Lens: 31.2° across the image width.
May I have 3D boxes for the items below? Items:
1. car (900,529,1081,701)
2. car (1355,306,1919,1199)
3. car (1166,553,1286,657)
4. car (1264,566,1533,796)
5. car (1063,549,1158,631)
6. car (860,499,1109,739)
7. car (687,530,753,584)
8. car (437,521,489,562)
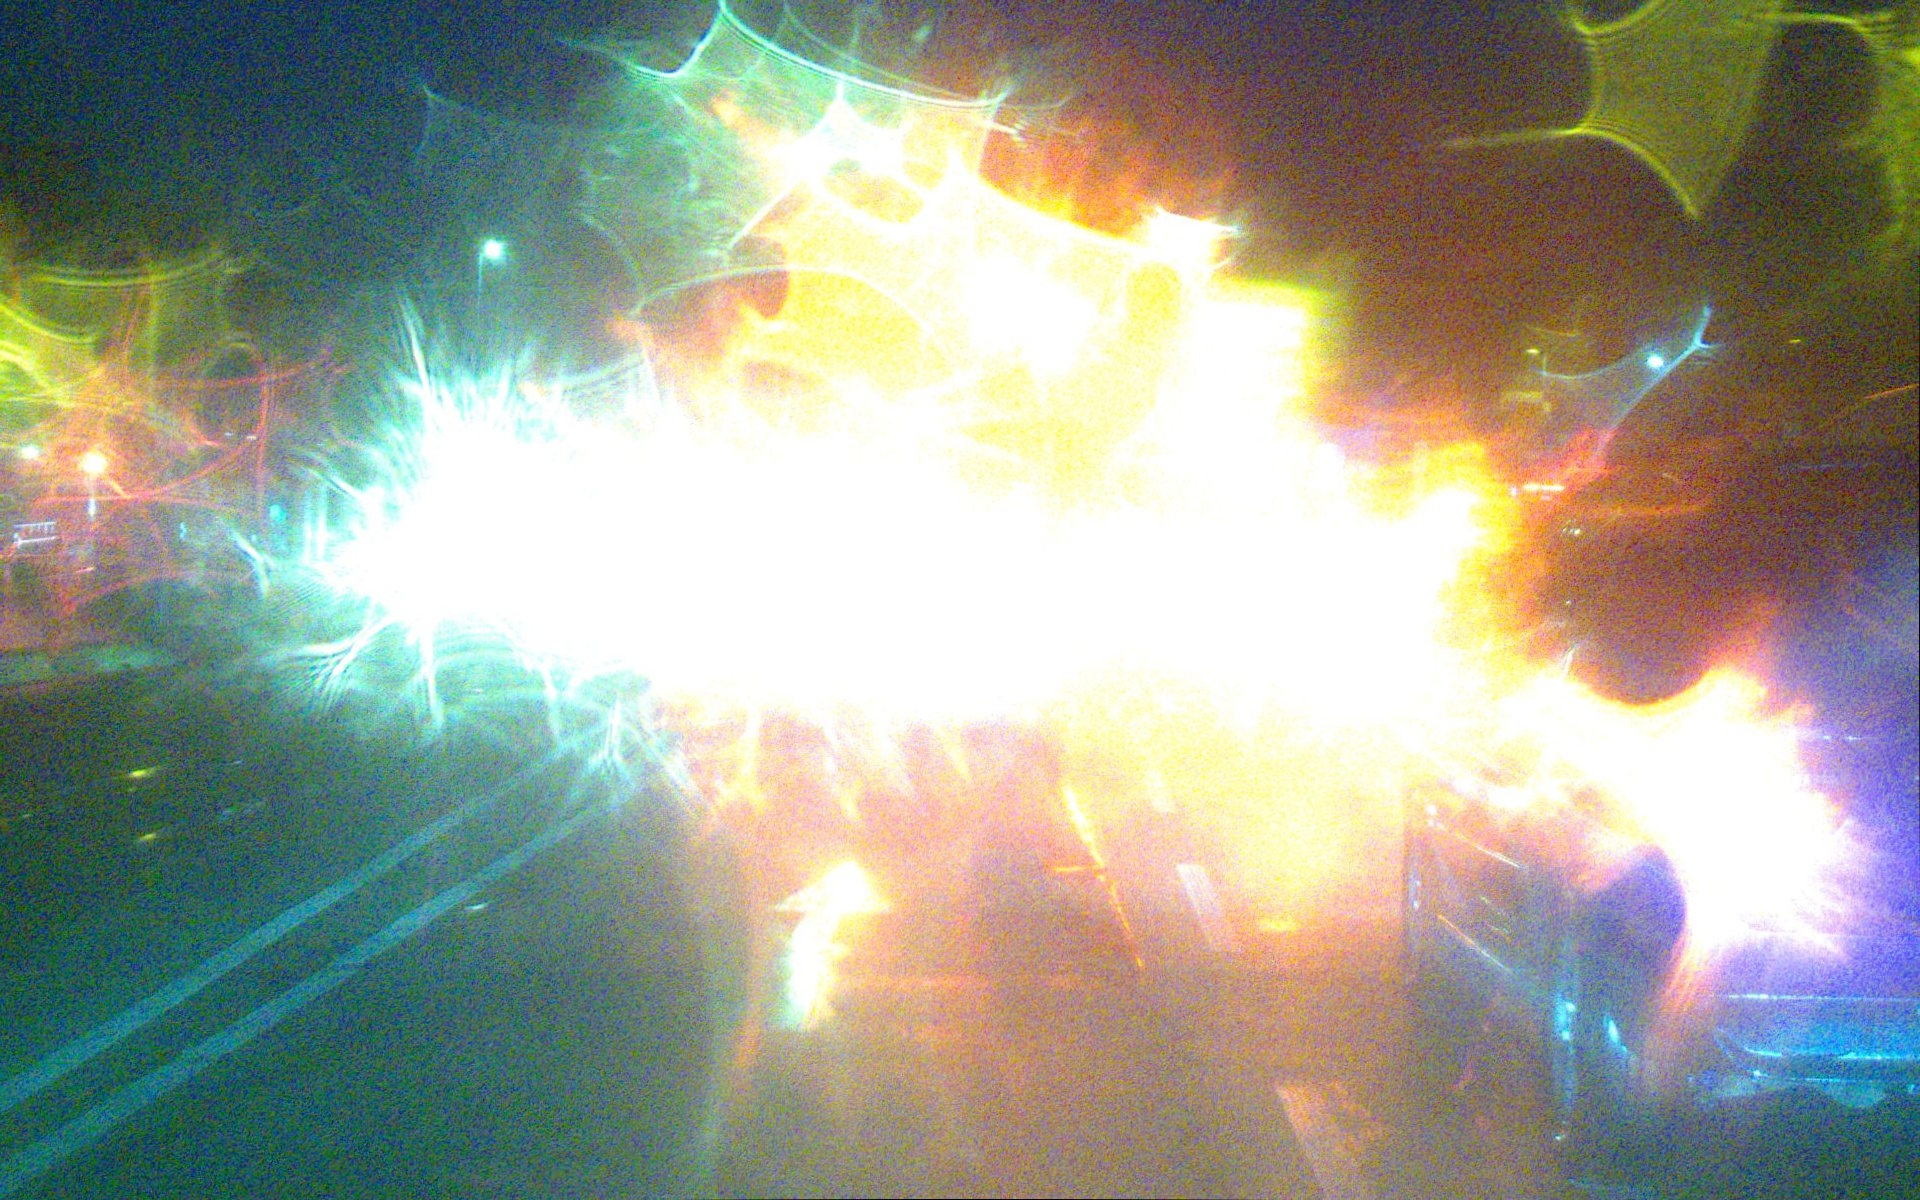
[{"bbox_3d":[0.362,0.105,34.949,1.709,1.632,3.730,0,1,2],"label":"car"},{"bbox_3d":[2.270,0.362,8.948,1.942,1.965,4.218,1,1,0],"label":"car"},{"bbox_3d":[3.892,0.048,50.542,1.663,1.445,4.049,1,1,4],"label":"car"},{"bbox_3d":[3.146,0.525,25.260,1.768,1.445,4.217,1,2,5],"label":"car"},{"bbox_3d":[2.776,-0.205,63.975,1.663,1.445,4.050,1,1,2],"label":"car"},{"bbox_3d":[0.237,0.110,25.952,1.694,1.624,3.852,2,1,2],"label":"car"},{"bbox_3d":[-6.835,-1.241,97.794,1.708,1.493,3.731,0,1,-6],"label":"car"},{"bbox_3d":[-18.347,-2.182,127.101,1.708,1.493,3.731,0,1,-5],"label":"car"}]
